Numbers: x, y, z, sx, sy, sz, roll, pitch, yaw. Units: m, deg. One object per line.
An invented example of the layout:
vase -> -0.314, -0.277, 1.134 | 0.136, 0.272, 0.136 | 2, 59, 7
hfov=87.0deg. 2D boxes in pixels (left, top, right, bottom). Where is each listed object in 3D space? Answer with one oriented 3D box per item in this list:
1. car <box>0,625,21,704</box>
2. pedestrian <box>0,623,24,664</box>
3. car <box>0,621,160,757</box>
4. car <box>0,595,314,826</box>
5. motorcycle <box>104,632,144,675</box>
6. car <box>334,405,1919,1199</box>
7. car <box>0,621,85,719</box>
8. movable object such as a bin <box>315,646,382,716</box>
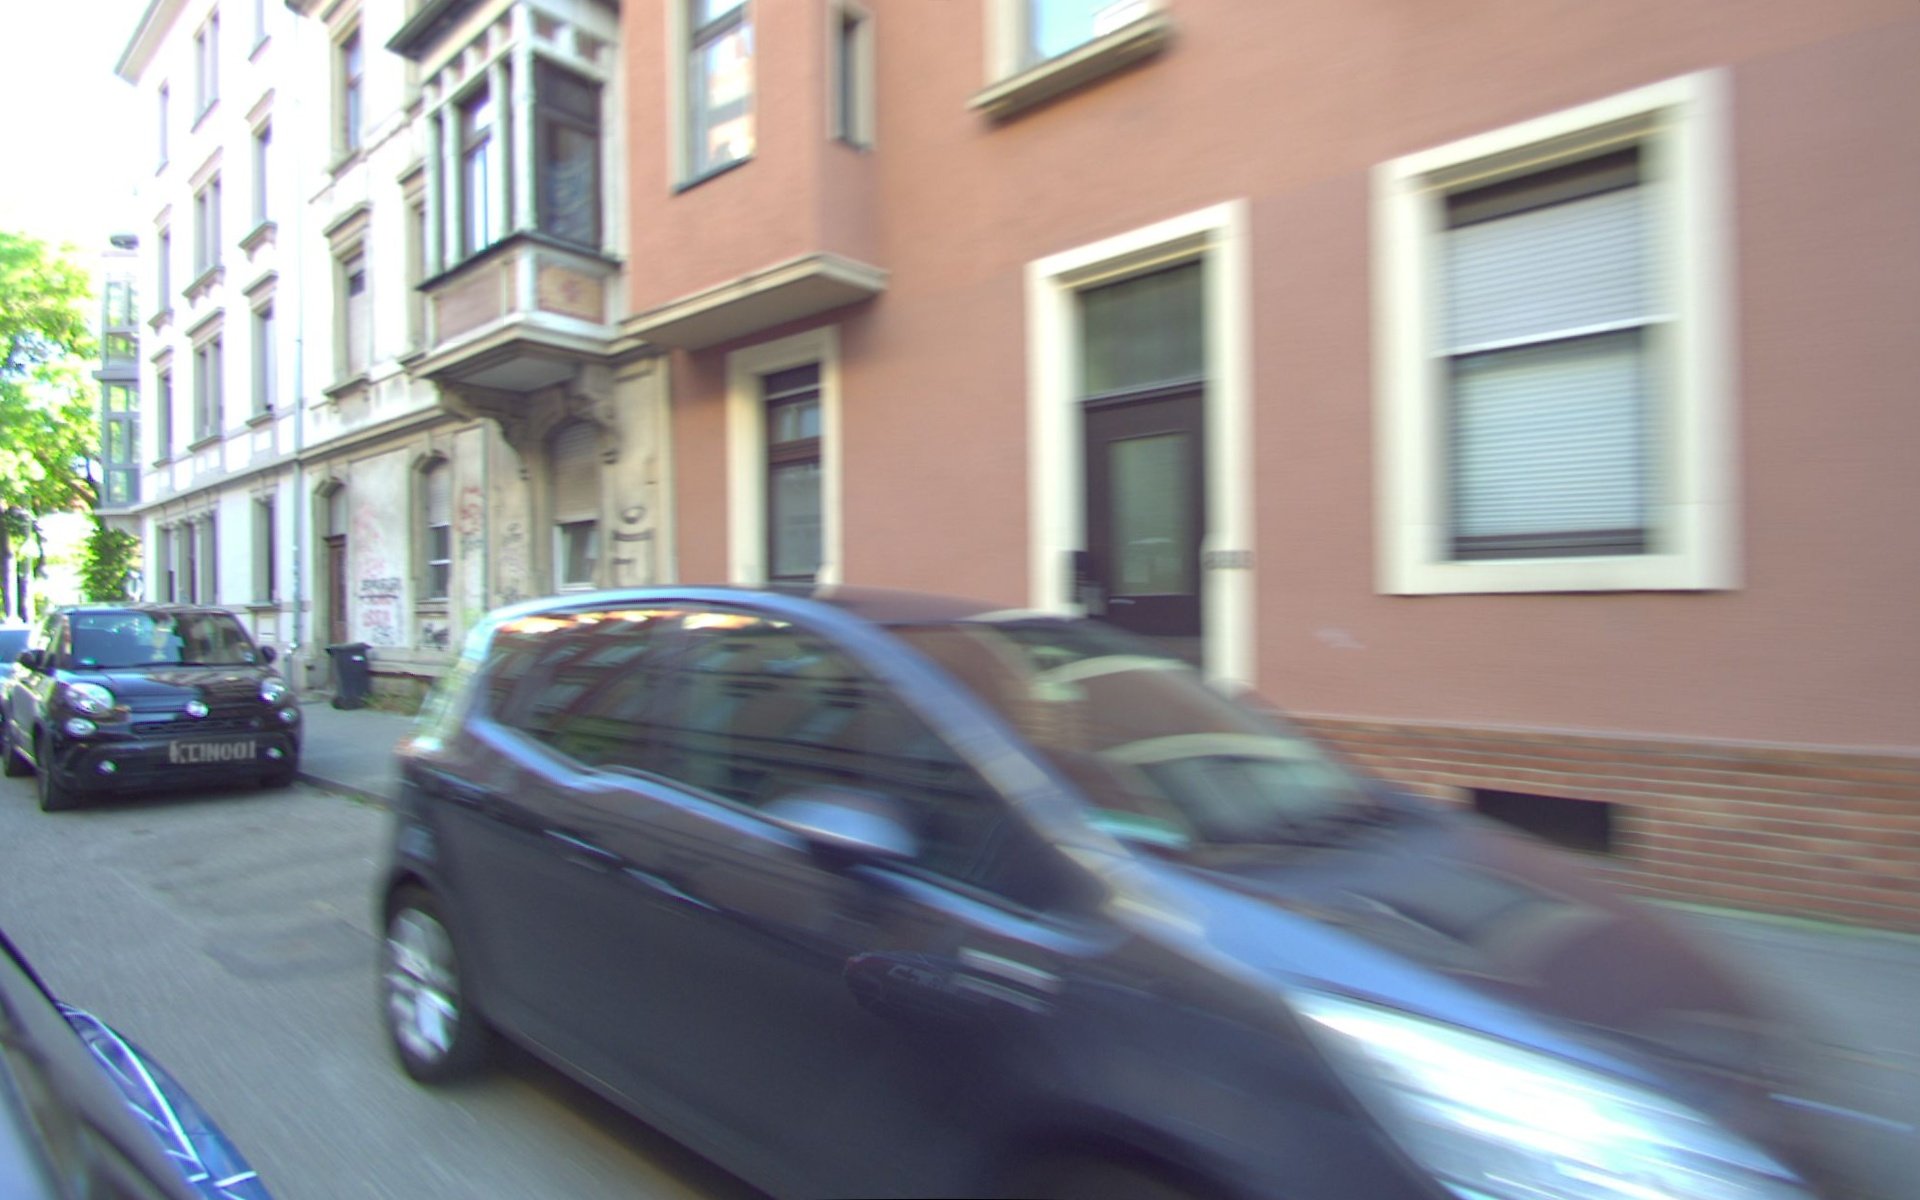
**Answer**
car -> -20.068, 1.268, 20.073 | 3.741, 1.494, 1.762 | -2, -2, 41
pedestrian -> -40.960, 1.875, 43.594 | 1.005, 1.759, 0.794 | -2, -2, 41
car -> -11.476, 1.029, 12.554 | 3.835, 1.467, 1.626 | -2, -4, 40
car -> -7.543, 0.828, 9.198 | 4.187, 1.630, 1.742 | -2, -2, 41
motorcycle -> -25.602, 1.618, 31.008 | 0.603, 1.205, 2.050 | 0, -1, -30
car -> 0.020, 0.674, 2.784 | 4.065, 1.618, 1.763 | -2, -1, 39
car -> -15.363, 1.063, 15.967 | 3.739, 1.414, 1.763 | -2, -1, 39
movable object such as a bin -> -8.638, 1.128, 14.298 | 0.733, 0.927, 0.606 | -1, -1, 40
